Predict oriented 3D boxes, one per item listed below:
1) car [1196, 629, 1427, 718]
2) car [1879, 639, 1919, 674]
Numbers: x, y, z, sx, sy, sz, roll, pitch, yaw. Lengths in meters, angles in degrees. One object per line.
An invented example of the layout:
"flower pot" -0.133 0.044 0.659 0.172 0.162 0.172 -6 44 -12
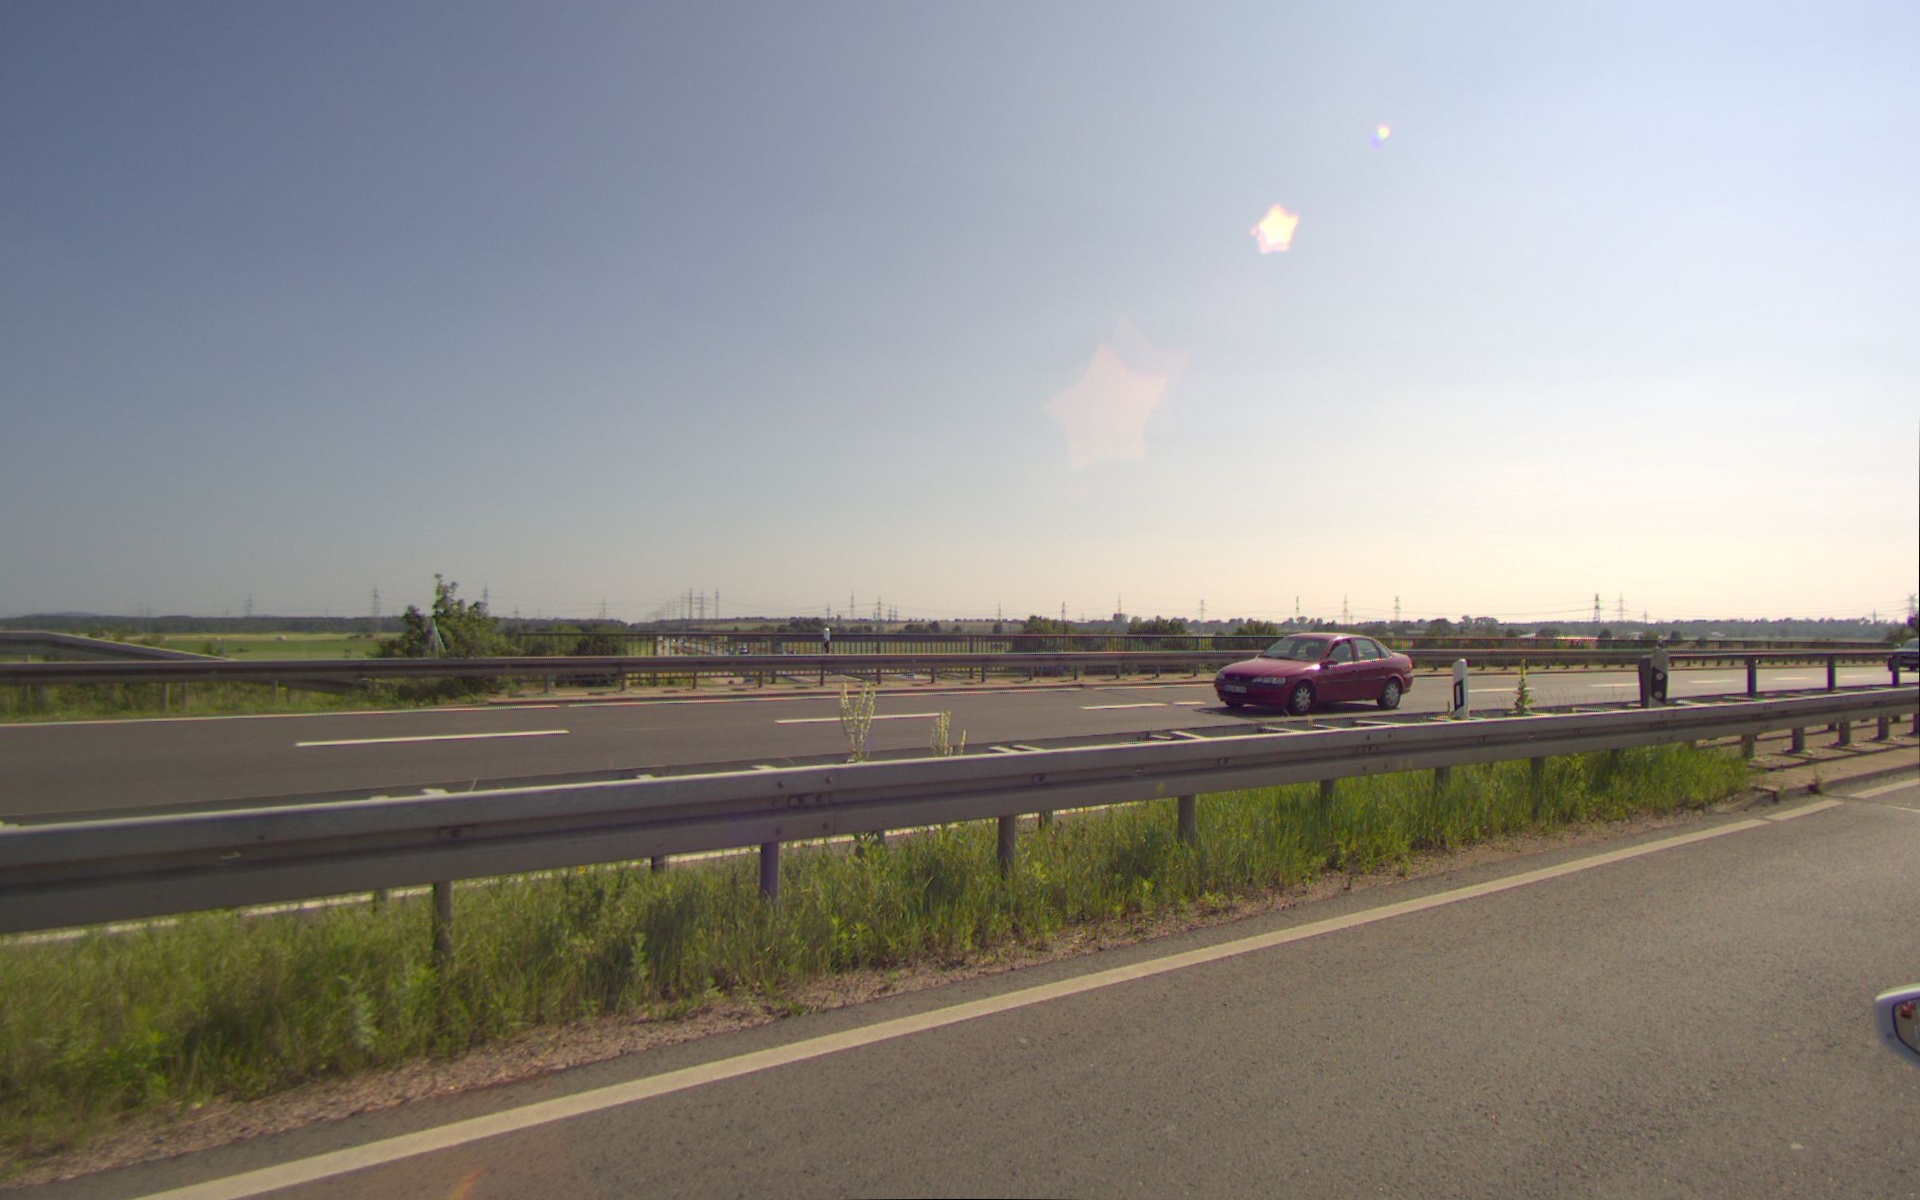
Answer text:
"car" 6.710 1.315 19.017 4.484 1.447 1.813 1 -1 -34
"car" 42.062 2.451 43.891 3.955 1.402 1.770 1 0 -32
